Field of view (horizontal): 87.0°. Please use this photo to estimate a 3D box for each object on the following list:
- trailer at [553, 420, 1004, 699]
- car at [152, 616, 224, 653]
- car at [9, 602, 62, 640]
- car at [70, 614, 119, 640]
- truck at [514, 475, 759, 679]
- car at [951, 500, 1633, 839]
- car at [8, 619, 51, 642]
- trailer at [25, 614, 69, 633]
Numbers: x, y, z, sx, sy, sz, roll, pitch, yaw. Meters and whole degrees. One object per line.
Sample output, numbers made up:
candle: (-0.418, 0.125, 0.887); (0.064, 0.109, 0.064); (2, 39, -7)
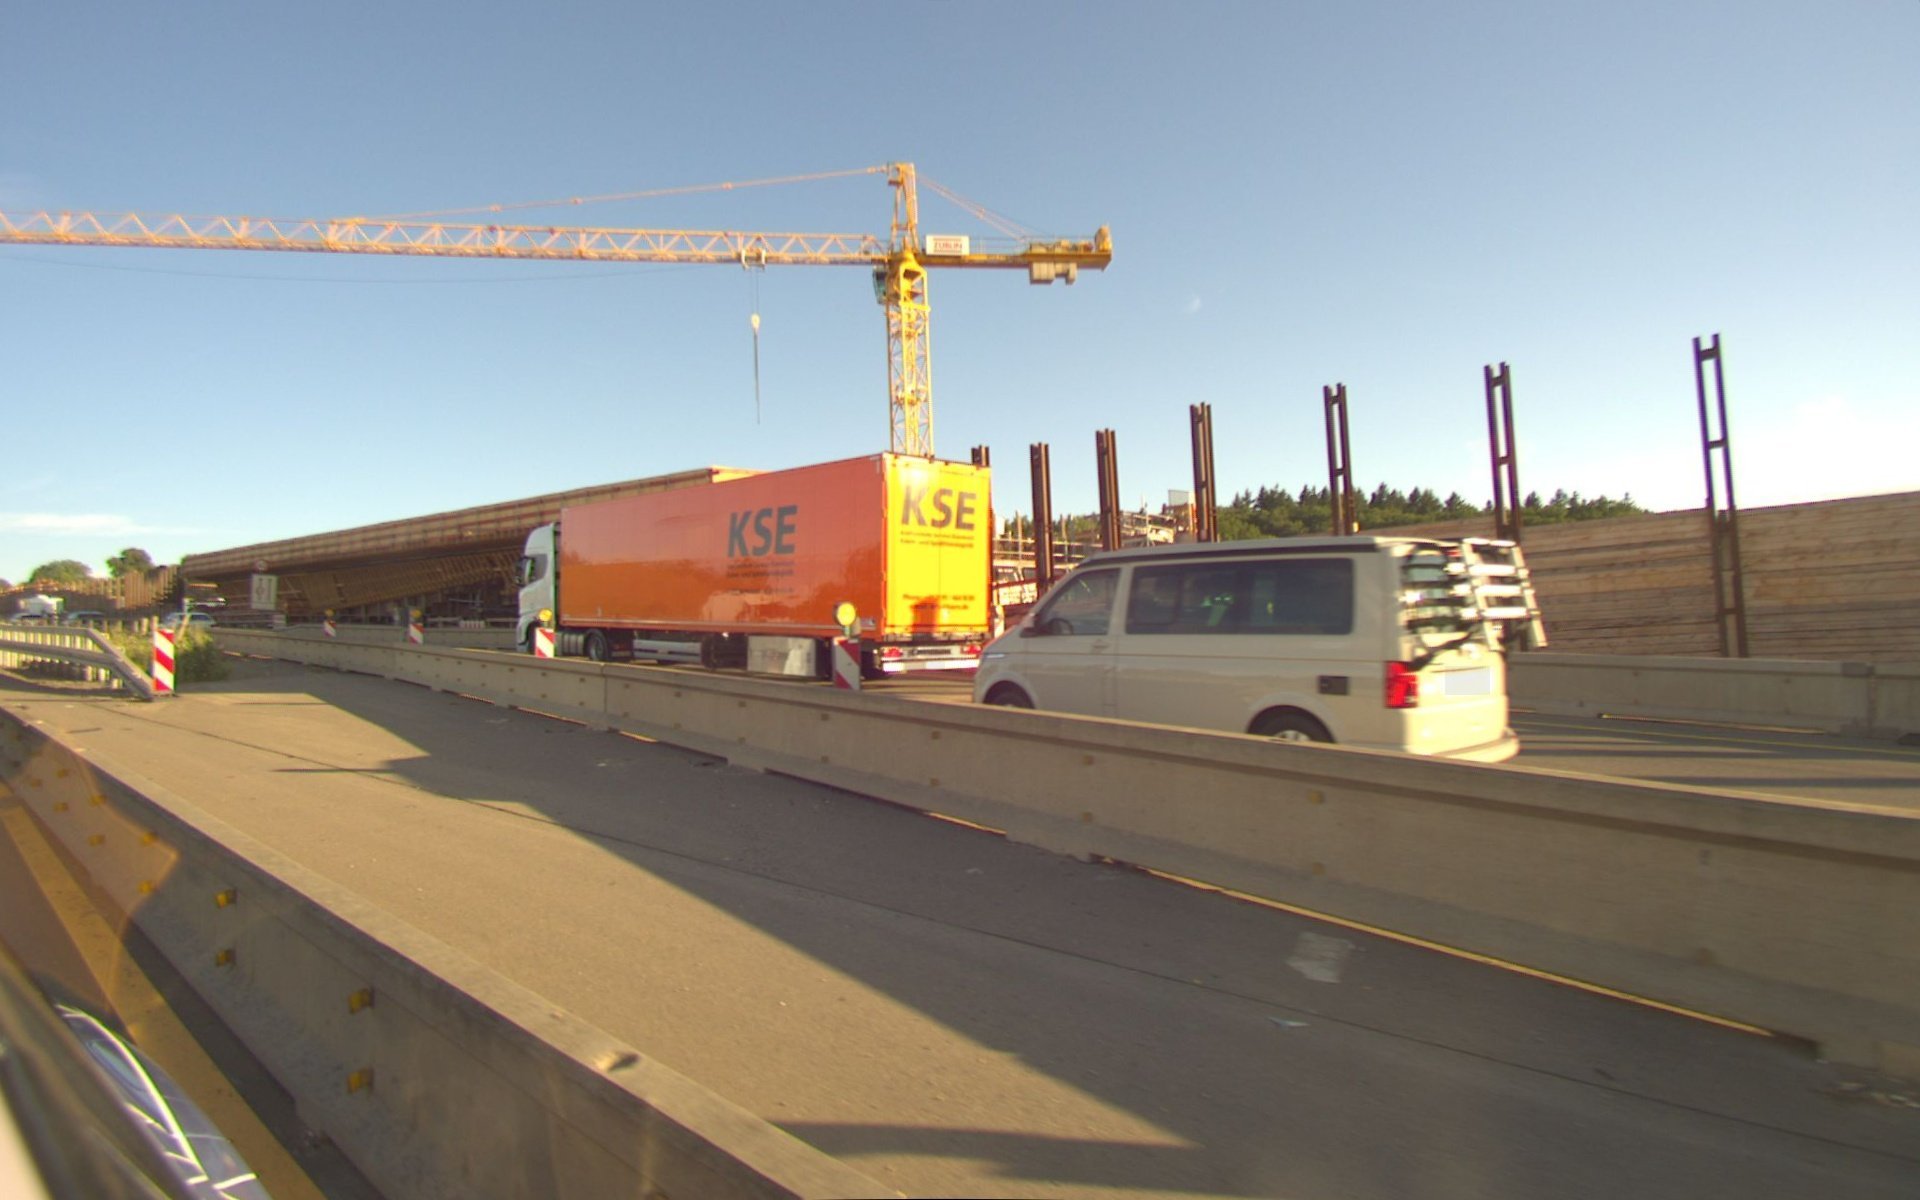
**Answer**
trailer: (-4.988, -0.565, 22.444); (2.553, 4.505, 14.150); (-1, 0, -43)
car: (-36.370, 1.584, 47.631); (4.657, 1.613, 1.712); (-1, -1, 40)
car: (-76.993, 1.721, 84.261); (6.154, 2.989, 2.306); (-1, -1, 38)
car: (-52.126, 1.623, 60.935); (3.999, 1.401, 1.644); (-1, 3, 42)
truck: (-8.667, -0.463, 26.289); (2.554, 4.505, 8.338); (-1, 0, -44)
car: (2.407, 0.446, 8.695); (1.969, 2.029, 5.264); (-1, 0, -41)
car: (-66.529, 2.165, 72.336); (4.109, 1.613, 1.713); (-1, -1, 40)
trailer: (-73.751, 1.899, 81.718); (2.141, 1.524, 2.300); (-1, -1, 37)
